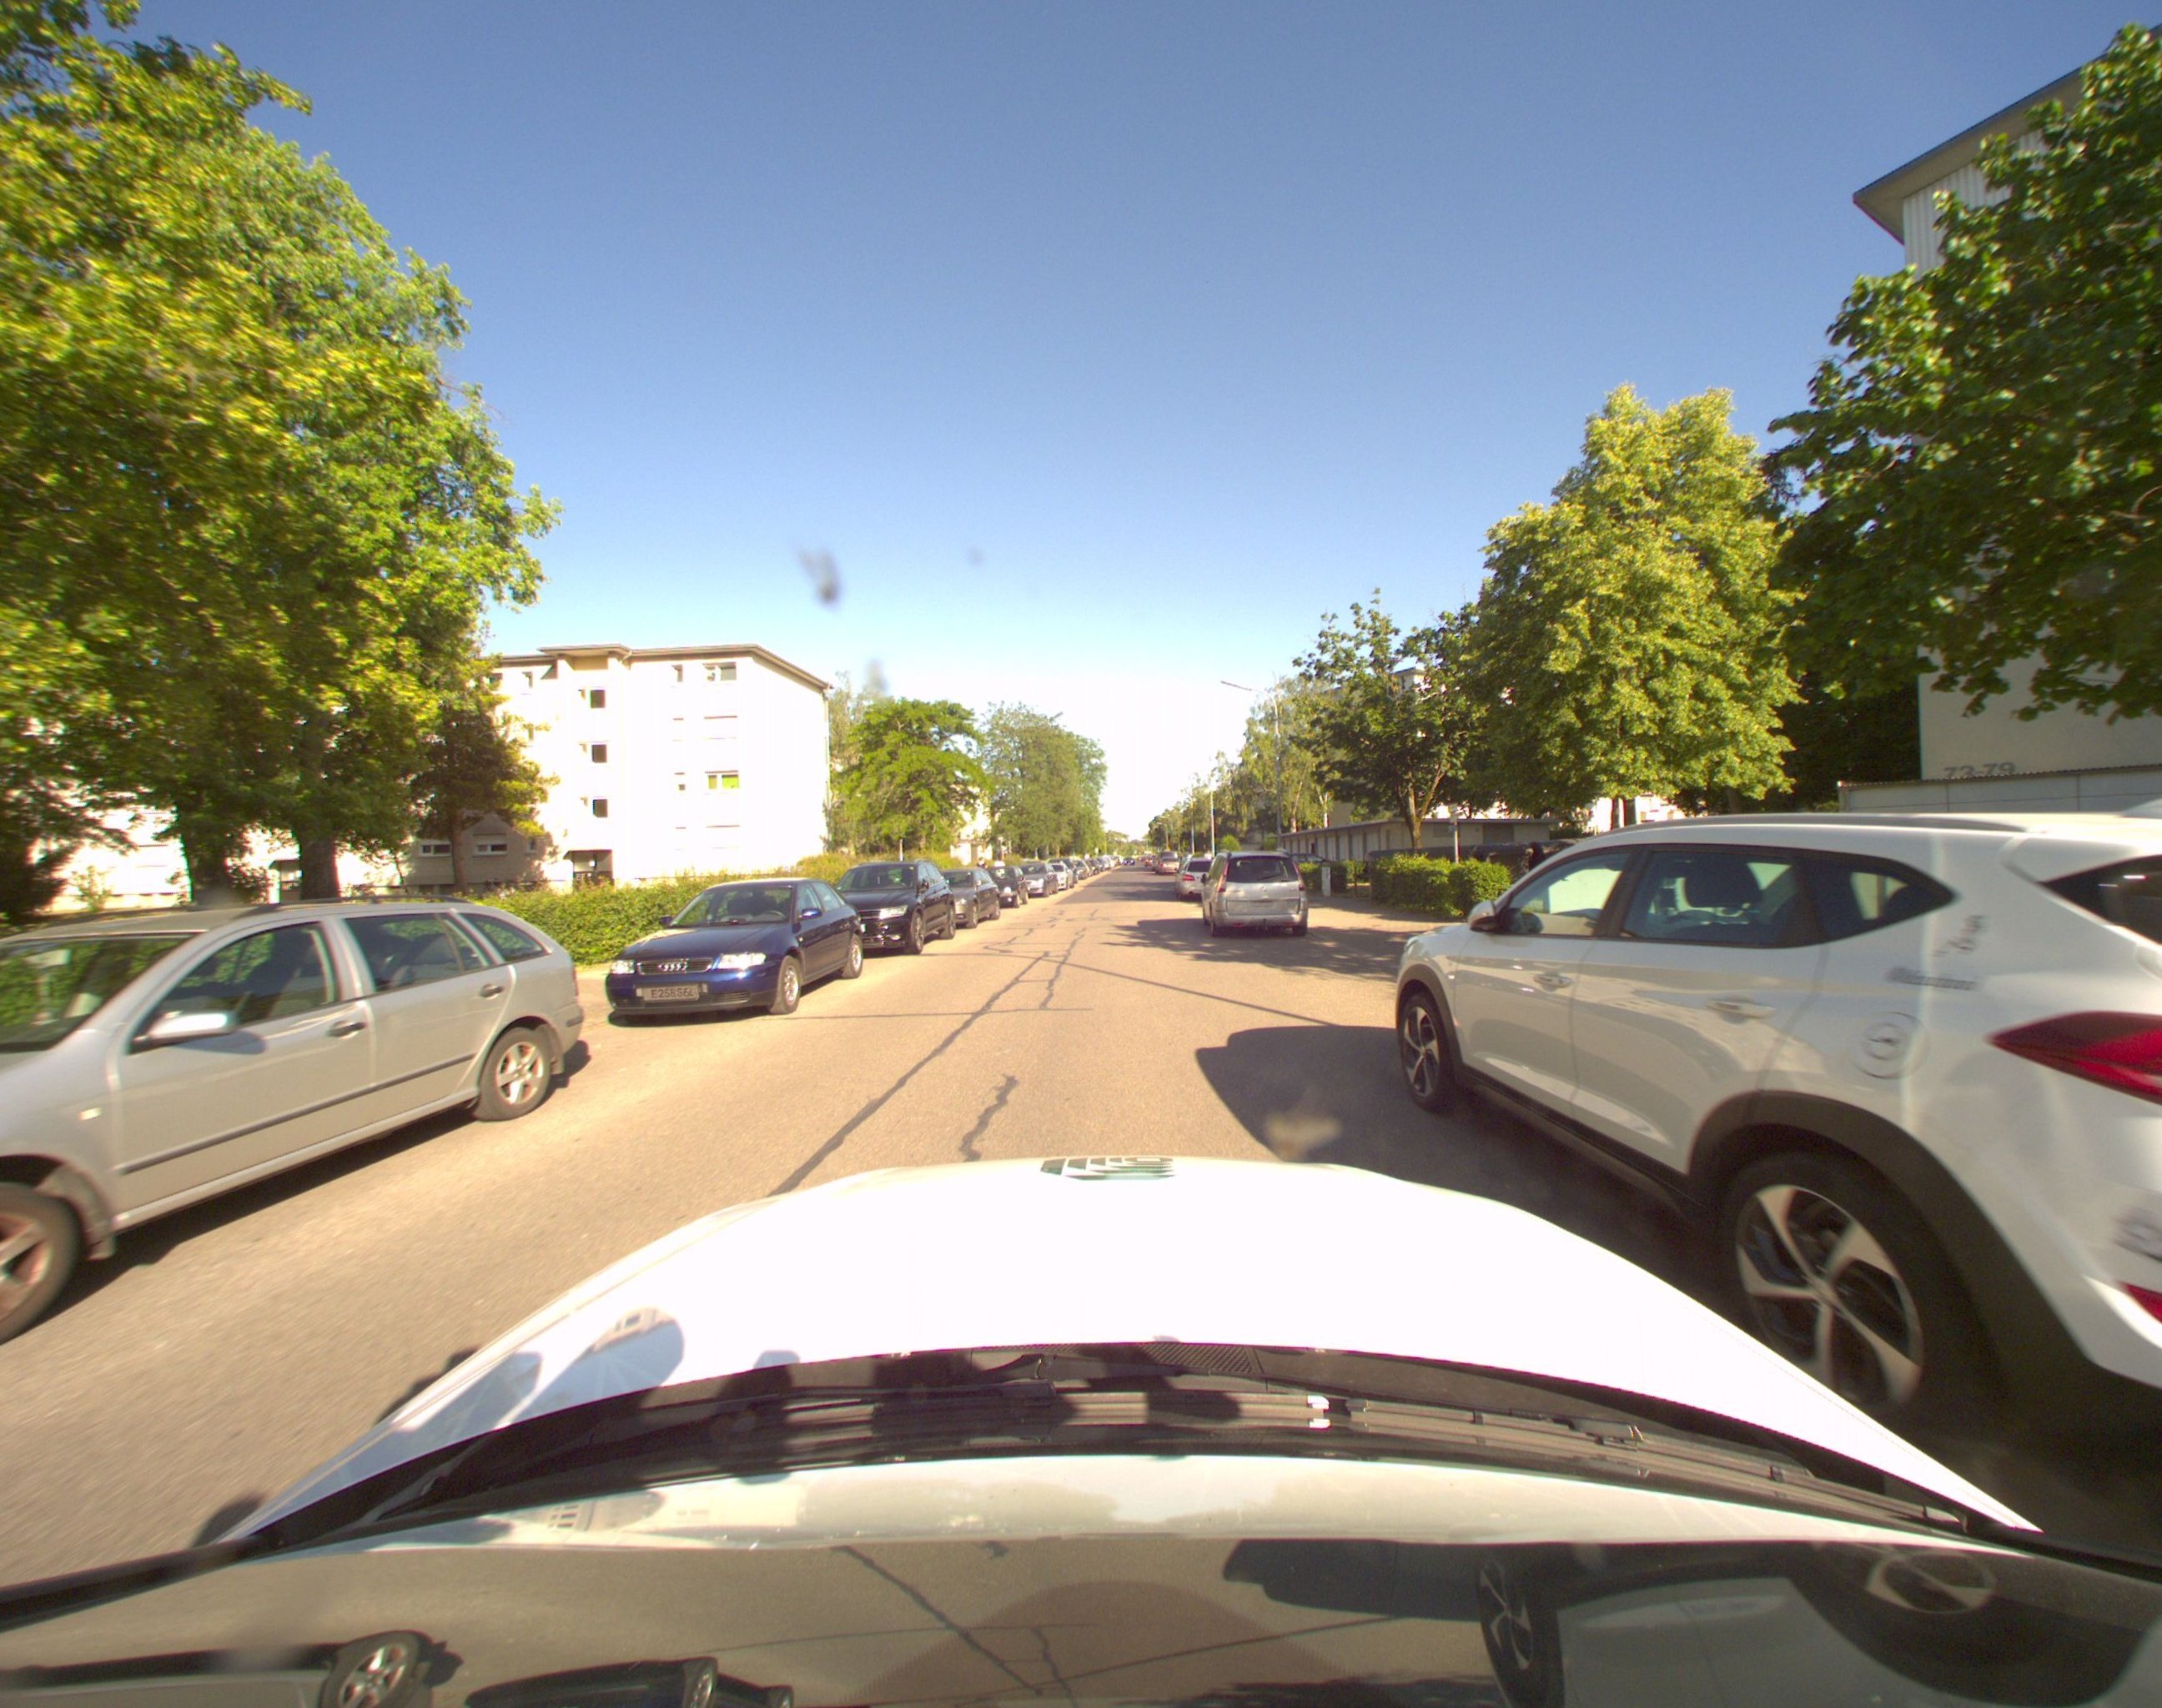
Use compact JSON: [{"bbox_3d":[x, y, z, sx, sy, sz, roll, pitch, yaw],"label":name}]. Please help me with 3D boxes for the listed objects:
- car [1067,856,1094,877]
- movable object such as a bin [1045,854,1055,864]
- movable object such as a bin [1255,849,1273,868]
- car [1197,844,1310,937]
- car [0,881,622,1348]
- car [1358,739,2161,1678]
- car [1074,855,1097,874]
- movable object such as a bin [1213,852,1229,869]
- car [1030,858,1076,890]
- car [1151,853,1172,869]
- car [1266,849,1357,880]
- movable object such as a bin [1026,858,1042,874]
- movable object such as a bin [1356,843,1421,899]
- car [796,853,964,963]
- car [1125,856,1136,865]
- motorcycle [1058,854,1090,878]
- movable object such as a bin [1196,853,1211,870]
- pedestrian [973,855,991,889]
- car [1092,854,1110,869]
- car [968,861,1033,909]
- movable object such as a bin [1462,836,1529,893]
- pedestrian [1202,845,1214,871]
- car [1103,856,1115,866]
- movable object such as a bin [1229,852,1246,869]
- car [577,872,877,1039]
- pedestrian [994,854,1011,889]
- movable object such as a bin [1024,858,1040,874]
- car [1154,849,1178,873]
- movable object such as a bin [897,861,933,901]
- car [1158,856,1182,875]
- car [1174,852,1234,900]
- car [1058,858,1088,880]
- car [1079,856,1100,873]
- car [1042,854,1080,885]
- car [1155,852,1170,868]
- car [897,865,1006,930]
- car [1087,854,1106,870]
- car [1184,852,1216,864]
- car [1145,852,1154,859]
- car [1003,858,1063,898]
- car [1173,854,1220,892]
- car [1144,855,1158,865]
[{"bbox_3d":[0.008,0.984,66.002,1.746,1.481,3.965,-4,0,5],"label":"car"},{"bbox_3d":[-4.384,0.711,116.429,1.171,1.420,1.465,1,0,6],"label":"movable object such as a bin"},{"bbox_3d":[15.200,0.337,67.674,1.269,1.465,1.136,-2,3,7],"label":"movable object such as a bin"},{"bbox_3d":[3.394,0.649,16.780,1.746,1.627,4.501,-1,0,5],"label":"car"},{"bbox_3d":[-4.430,0.966,4.018,1.747,1.437,4.154,-3,0,3],"label":"car"},{"bbox_3d":[2.806,0.619,3.487,1.748,1.674,4.413,-1,0,0],"label":"car"},{"bbox_3d":[0.430,0.923,72.104,1.747,1.574,3.722,-4,0,2],"label":"car"},{"bbox_3d":[11.632,0.541,67.515,1.217,1.365,1.135,-2,0,7],"label":"movable object such as a bin"},{"bbox_3d":[-1.389,1.001,41.874,1.745,1.425,4.217,-4,-1,6],"label":"car"},{"bbox_3d":[8.141,0.707,82.941,1.725,1.490,4.503,-3,0,2],"label":"car"},{"bbox_3d":[11.877,0.519,42.166,4.168,1.494,1.818,-1,0,0],"label":"car"},{"bbox_3d":[-4.059,1.039,70.911,1.172,1.408,1.345,-1,0,4],"label":"movable object such as a bin"},{"bbox_3d":[8.639,0.468,22.933,1.321,1.428,1.069,-4,0,-2],"label":"movable object such as a bin"},{"bbox_3d":[-3.523,0.859,15.172,1.747,1.668,4.394,-3,0,3],"label":"car"},{"bbox_3d":[8.670,1.052,142.922,1.902,1.476,4.575,-2,0,4],"label":"car"},{"bbox_3d":[-0.520,0.917,62.368,2.248,1.727,0.932,-4,-1,1],"label":"motorcycle"},{"bbox_3d":[10.354,0.596,68.584,1.019,1.310,1.392,-5,-1,14],"label":"movable object such as a bin"},{"bbox_3d":[-4.887,0.879,40.267,0.717,1.679,0.600,-1,0,4],"label":"pedestrian"},{"bbox_3d":[2.475,0.904,99.978,1.895,1.640,4.353,-3,0,4],"label":"car"},{"bbox_3d":[-2.749,1.023,28.501,1.641,1.464,3.498,-3,0,3],"label":"car"},{"bbox_3d":[11.571,0.295,22.780,1.321,1.537,1.029,-1,0,-2],"label":"movable object such as a bin"},{"bbox_3d":[9.523,0.293,60.929,0.700,1.888,0.873,-4,-1,5],"label":"pedestrian"},{"bbox_3d":[4.177,1.059,122.066,1.680,1.505,3.820,-2,0,2],"label":"car"},{"bbox_3d":[12.886,0.524,67.048,1.269,1.365,1.135,-2,0,7],"label":"movable object such as a bin"},{"bbox_3d":[-3.805,0.983,9.635,1.632,1.385,4.171,-3,0,0],"label":"car"},{"bbox_3d":[-3.809,0.844,39.674,0.717,1.679,0.617,-1,0,4],"label":"pedestrian"},{"bbox_3d":[-4.163,1.031,69.496,1.172,1.288,1.345,-1,0,4],"label":"movable object such as a bin"},{"bbox_3d":[7.352,0.591,70.521,1.845,1.934,4.709,0,0,3],"label":"car"},{"bbox_3d":[-6.219,1.001,30.653,0.998,1.415,1.327,1,0,2],"label":"movable object such as a bin"},{"bbox_3d":[7.030,0.872,64.555,1.792,1.419,4.643,-1,0,5],"label":"car"},{"bbox_3d":[4.319,0.722,29.210,1.822,1.546,4.647,-1,0,5],"label":"car"},{"bbox_3d":[-0.514,1.055,58.784,1.746,1.421,4.273,-4,0,4],"label":"car"},{"bbox_3d":[0.858,0.980,77.498,1.747,1.481,4.541,-4,0,3],"label":"car"},{"bbox_3d":[-1.118,0.870,48.281,1.746,1.635,4.375,-4,0,4],"label":"car"},{"bbox_3d":[9.012,0.697,90.202,1.482,1.718,2.585,0,0,3],"label":"car"},{"bbox_3d":[-3.145,1.009,20.765,1.747,1.385,4.678,-3,-1,3],"label":"car"},{"bbox_3d":[1.704,0.851,89.327,1.746,1.606,3.974,-4,0,5],"label":"car"},{"bbox_3d":[16.805,0.536,115.187,4.395,1.513,1.831,-3,0,4],"label":"car"},{"bbox_3d":[16.077,0.377,190.889,1.789,1.561,3.953,-1,0,2],"label":"car"},{"bbox_3d":[-2.024,1.004,35.662,1.745,1.490,4.908,-4,-1,6],"label":"car"},{"bbox_3d":[4.870,0.786,34.797,1.796,1.494,3.800,-1,0,5],"label":"car"},{"bbox_3d":[10.043,0.866,117.041,1.673,1.513,4.105,0,0,2],"label":"car"}]
